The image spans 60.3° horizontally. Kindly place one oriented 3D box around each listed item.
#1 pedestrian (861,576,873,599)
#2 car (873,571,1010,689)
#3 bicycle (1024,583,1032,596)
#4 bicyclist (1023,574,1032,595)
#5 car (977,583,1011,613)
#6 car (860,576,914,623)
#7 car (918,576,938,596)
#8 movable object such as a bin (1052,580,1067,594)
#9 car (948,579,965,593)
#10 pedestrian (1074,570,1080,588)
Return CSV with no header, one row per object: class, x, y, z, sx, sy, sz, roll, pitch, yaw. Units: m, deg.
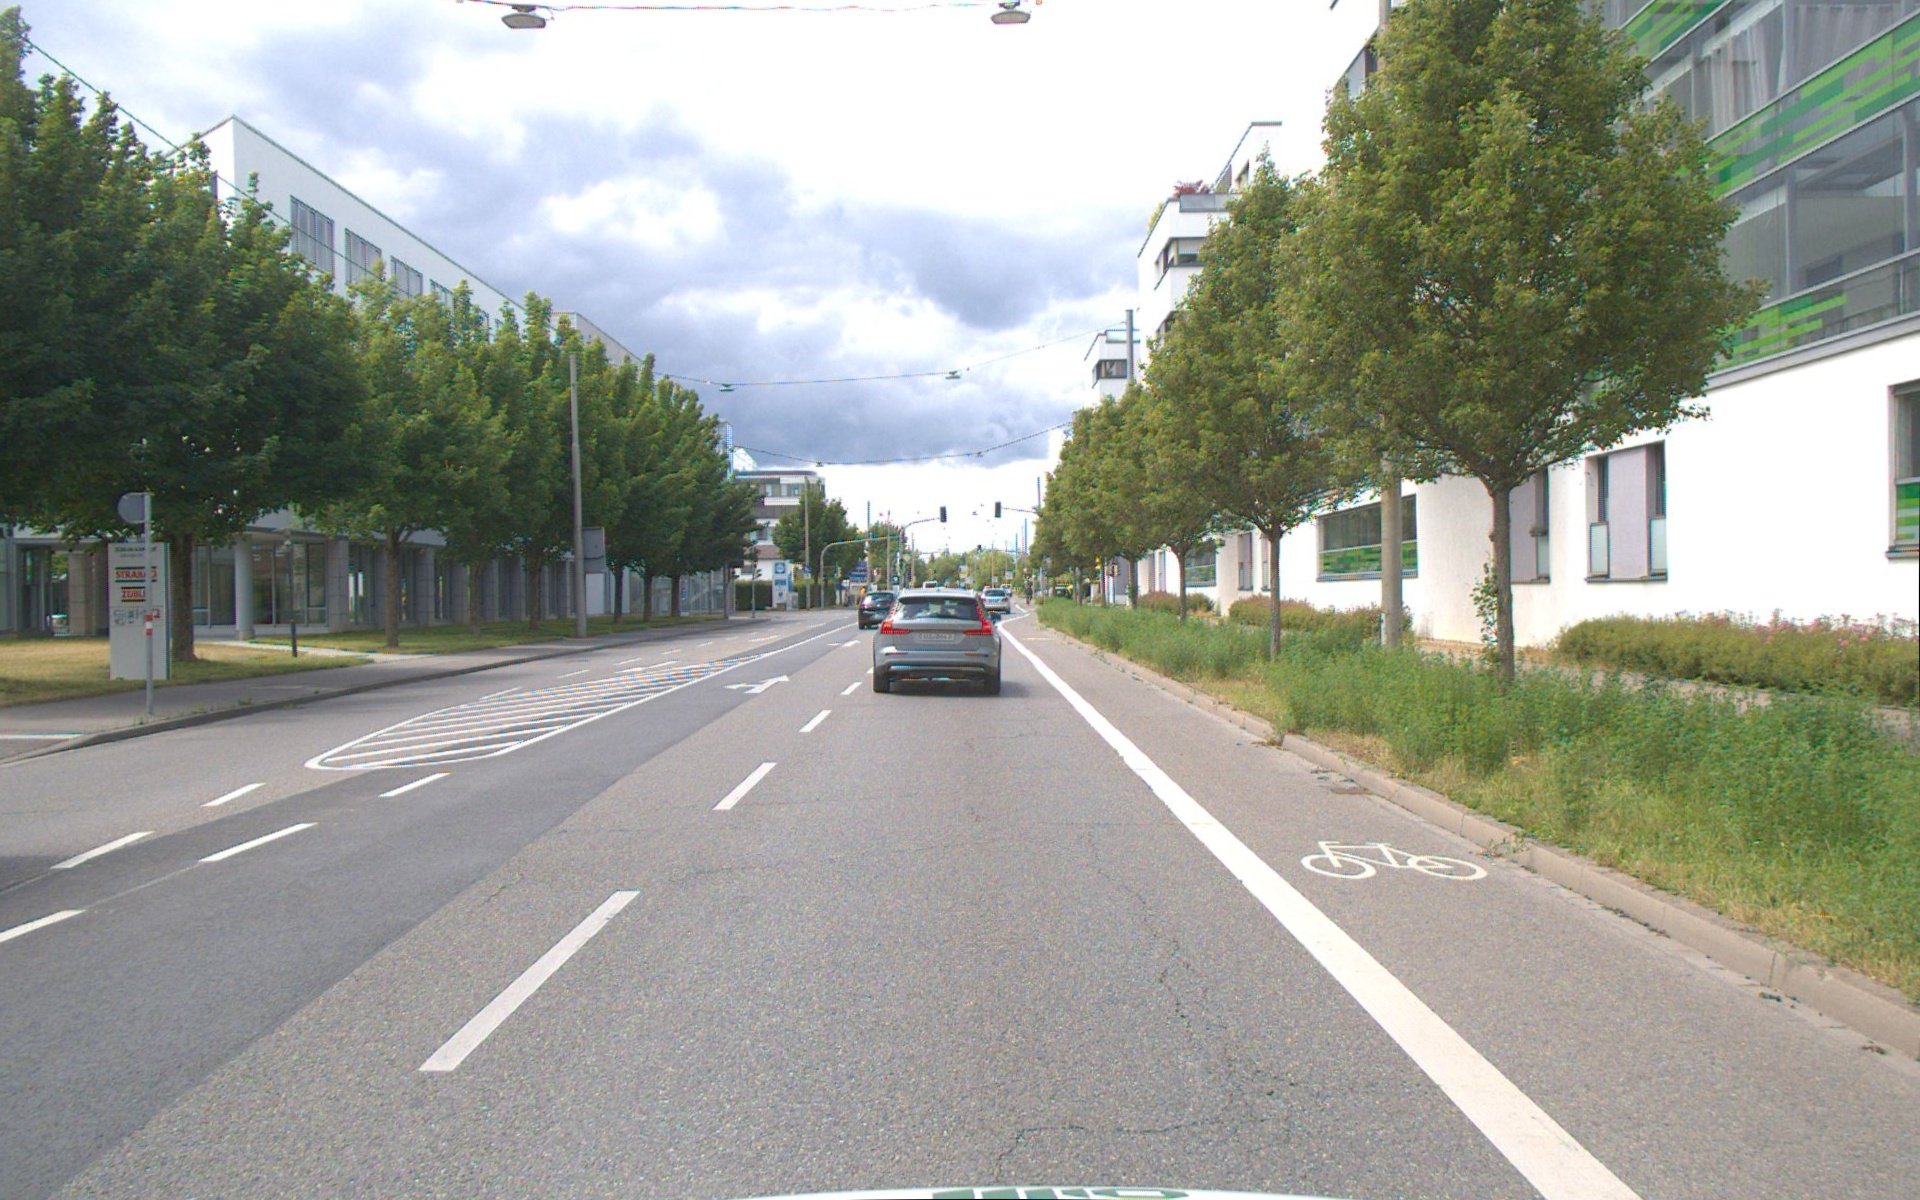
pedestrian,-8.356,-1.113,148.784,0.714,2.049,0.805,0,-1,44
car,-0.284,0.414,24.634,1.857,1.581,3.999,1,0,-1
bicycle,5.875,-0.882,143.101,0.625,1.081,1.978,-4,0,2
bicyclist,5.841,-1.339,143.106,0.625,1.704,0.890,-4,0,2
car,1.967,-0.096,96.911,1.952,1.724,4.000,1,0,1
car,-2.833,-0.001,64.570,1.953,1.747,3.999,1,0,-1
car,-4.116,-1.812,213.761,2.098,2.515,6.075,-3,0,2
movable object such as a bin,10.124,-1.320,168.360,1.291,1.385,1.252,-1,-1,17
car,-0.440,-1.733,209.188,1.846,1.579,4.542,-2,-1,4
pedestrian,11.774,-2.090,166.544,0.496,1.796,0.501,1,-1,18
